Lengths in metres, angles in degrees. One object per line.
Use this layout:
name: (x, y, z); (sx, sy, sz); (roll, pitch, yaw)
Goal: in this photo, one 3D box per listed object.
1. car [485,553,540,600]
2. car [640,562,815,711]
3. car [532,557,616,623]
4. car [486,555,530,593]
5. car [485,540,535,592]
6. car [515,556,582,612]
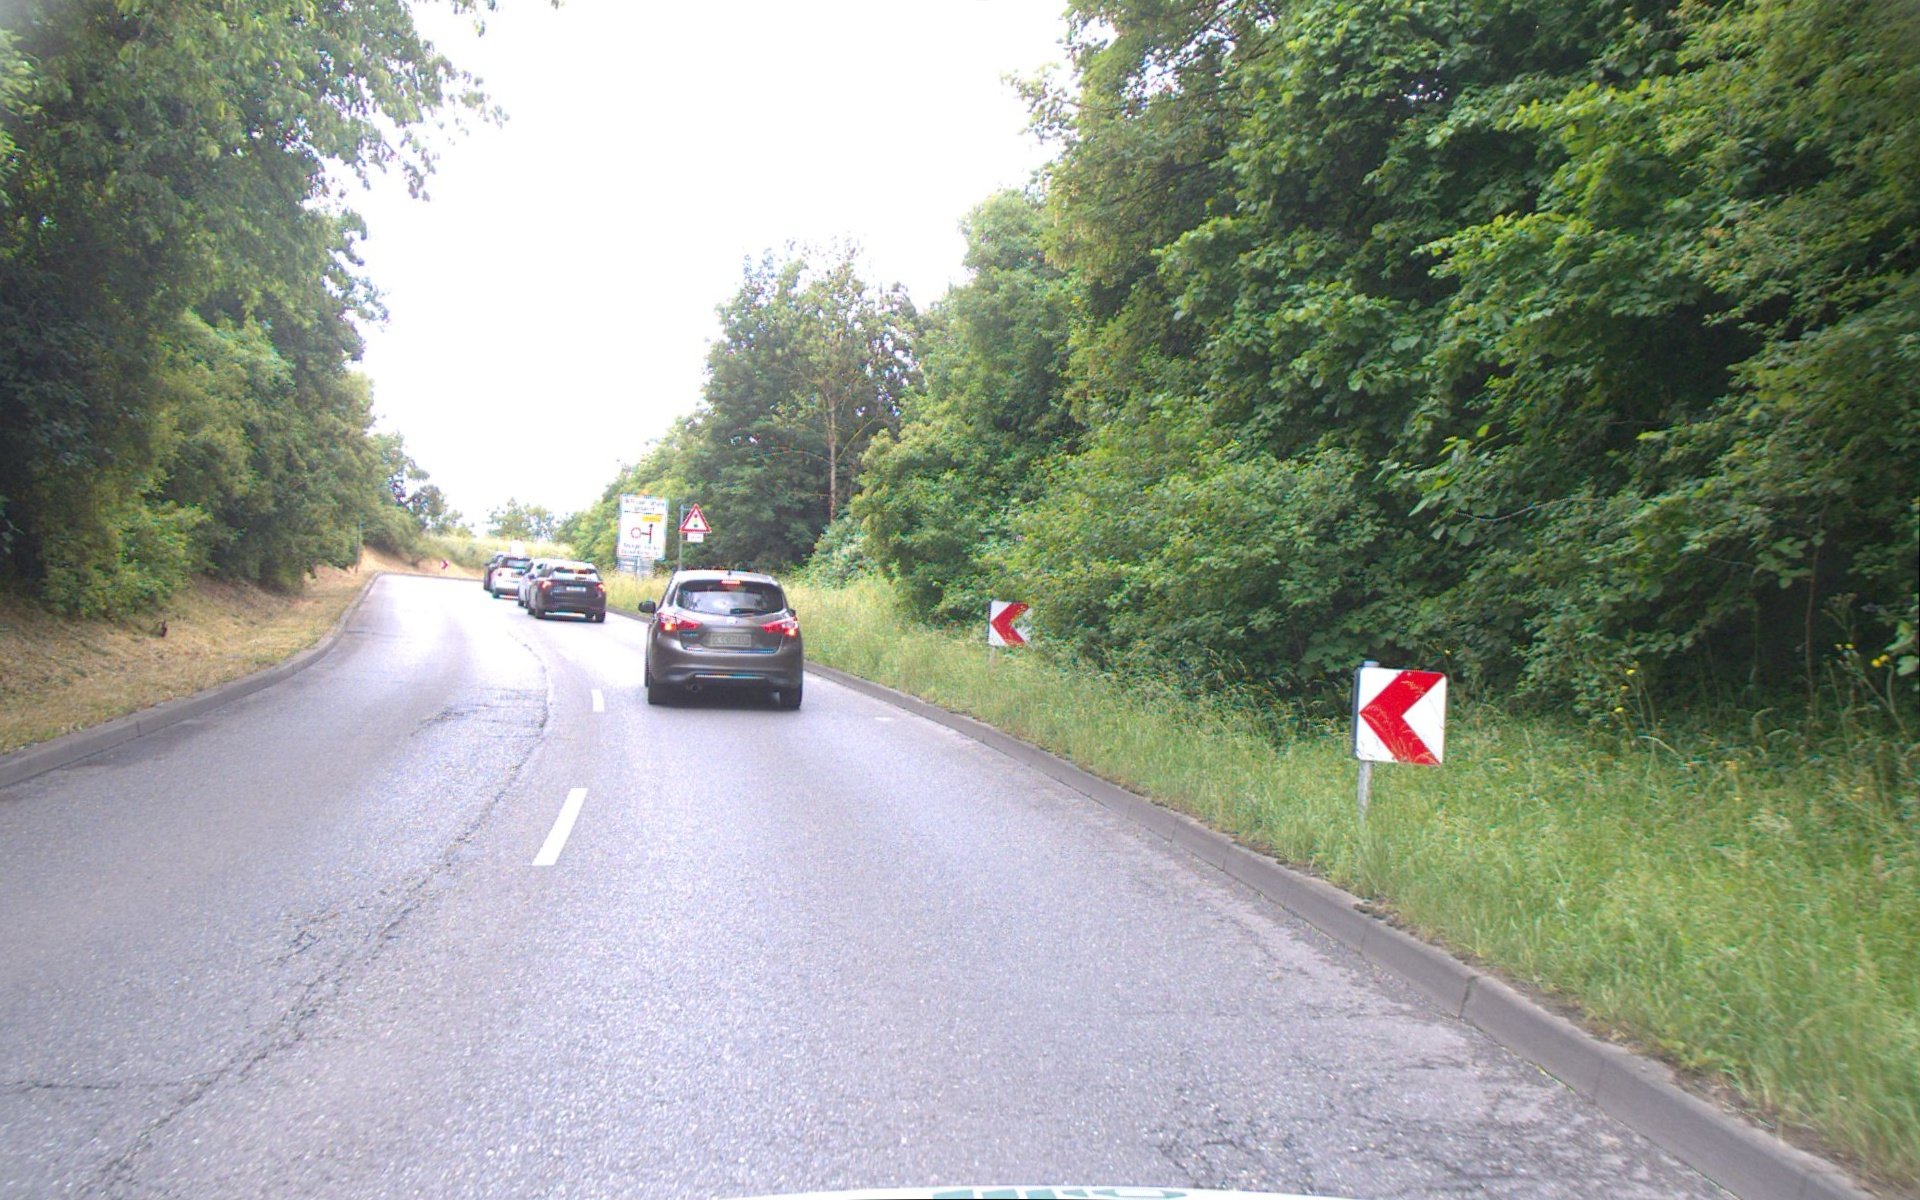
car: (-16.083, -0.867, 59.319); (1.709, 1.583, 3.526); (2, 1, -18)
car: (-2.861, 0.367, 19.788); (1.798, 1.583, 3.489); (2, 1, -12)
car: (-10.033, -0.296, 42.839); (1.802, 1.583, 3.606); (2, 1, -18)
car: (-19.578, -1.158, 71.630); (1.708, 1.553, 3.527); (2, 1, -17)
car: (-18.098, -1.368, 66.458); (1.709, 1.968, 3.526); (2, 1, -18)
car: (-12.588, -0.512, 50.518); (1.709, 1.583, 3.526); (2, 1, -18)
